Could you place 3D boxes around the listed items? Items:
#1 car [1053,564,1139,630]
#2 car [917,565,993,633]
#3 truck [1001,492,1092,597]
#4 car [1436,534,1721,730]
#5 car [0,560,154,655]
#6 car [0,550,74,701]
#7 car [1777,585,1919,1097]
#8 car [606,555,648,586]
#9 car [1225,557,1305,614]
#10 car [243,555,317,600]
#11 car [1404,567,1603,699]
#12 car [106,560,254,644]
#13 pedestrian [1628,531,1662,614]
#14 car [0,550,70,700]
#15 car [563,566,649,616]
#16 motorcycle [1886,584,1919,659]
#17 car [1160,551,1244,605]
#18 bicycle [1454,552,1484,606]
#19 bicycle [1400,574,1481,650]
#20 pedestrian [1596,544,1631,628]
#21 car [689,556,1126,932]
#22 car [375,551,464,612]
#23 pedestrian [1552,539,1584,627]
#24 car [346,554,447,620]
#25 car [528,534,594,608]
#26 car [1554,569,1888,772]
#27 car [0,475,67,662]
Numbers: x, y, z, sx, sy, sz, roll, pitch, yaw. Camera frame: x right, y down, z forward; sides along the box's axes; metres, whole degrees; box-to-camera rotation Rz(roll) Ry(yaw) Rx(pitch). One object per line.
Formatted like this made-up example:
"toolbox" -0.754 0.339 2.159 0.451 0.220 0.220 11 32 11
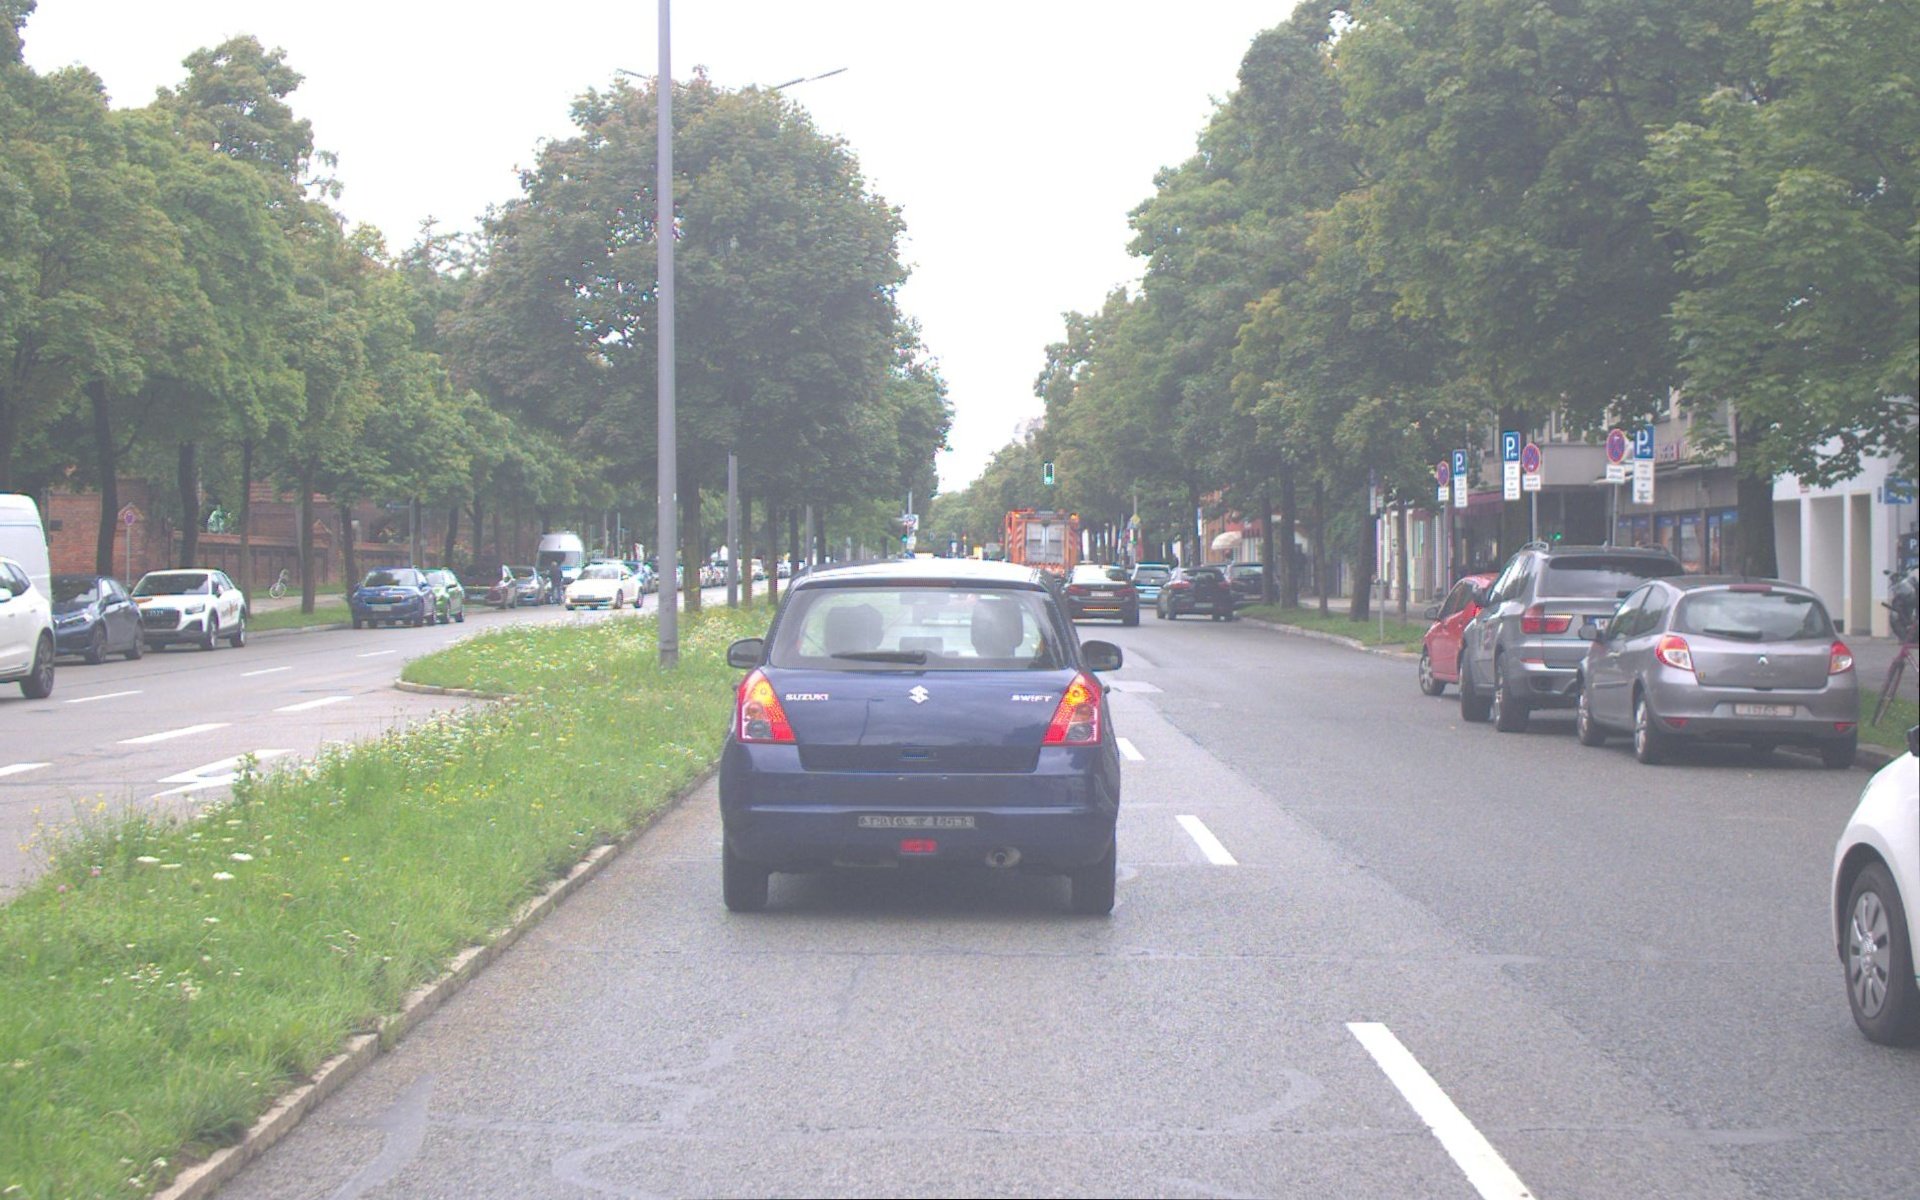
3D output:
"car" 3.265 -0.093 83.367 1.821 1.472 4.691 2 1 0
"car" -0.115 -0.048 80.186 1.718 1.495 4.301 1 1 0
"truck" 3.043 -1.992 123.890 3.041 3.545 13.674 1 1 1
"car" 5.841 0.257 32.997 1.829 1.740 4.508 0 1 -1
"car" -14.545 0.126 56.061 1.857 1.485 4.252 0 0 -1
"car" -11.270 0.277 37.366 2.025 1.614 4.684 -1 1 0
"car" 3.751 0.723 9.524 1.686 1.485 3.436 0 1 -9
"car" -16.710 -1.487 172.492 1.706 1.529 4.000 0 1 0
"car" 8.905 -0.437 100.655 1.993 1.637 4.333 0 1 0
"car" -23.898 -0.818 120.974 1.813 1.531 4.298 1 1 -1
"car" 6.271 0.344 40.024 1.521 1.436 4.000 0 1 -2
"car" -14.382 0.043 63.569 1.857 1.485 4.142 0 0 -1
"pedestrian" 13.652 -0.553 68.516 0.541 1.635 0.724 0 1 0
"car" -11.170 0.286 37.224 1.851 1.595 4.403 -2 1 1
"car" -11.796 -0.317 114.840 1.761 1.532 4.313 -2 1 9
"motorcycle" 14.490 0.314 51.327 0.761 1.082 2.199 0 1 0
"car" 6.534 -0.612 93.150 1.993 1.447 4.000 0 1 0
"bicycle" 13.889 -0.591 93.878 0.580 1.458 1.688 0 1 0
"bicycle" 8.123 0.193 58.168 0.454 1.251 2.150 0 1 -18
"pedestrian" 12.884 -0.283 67.793 0.549 1.624 0.641 -1 1 0
"car" -0.183 0.556 15.866 1.753 1.499 4.000 0 1 1
"car" -14.392 -0.514 91.665 1.638 1.532 4.315 -2 1 0
"pedestrian" 12.002 -0.340 67.830 0.500 1.727 0.733 0 1 0
"car" -14.183 -0.345 86.672 1.886 1.532 4.315 -2 1 -2
"car" -16.214 -1.196 139.982 2.185 2.943 6.192 1 1 -2
"car" 6.145 0.524 28.170 1.829 1.517 3.771 0 1 -1
"car" -14.611 -0.420 48.364 2.140 2.634 7.105 -1 1 0
